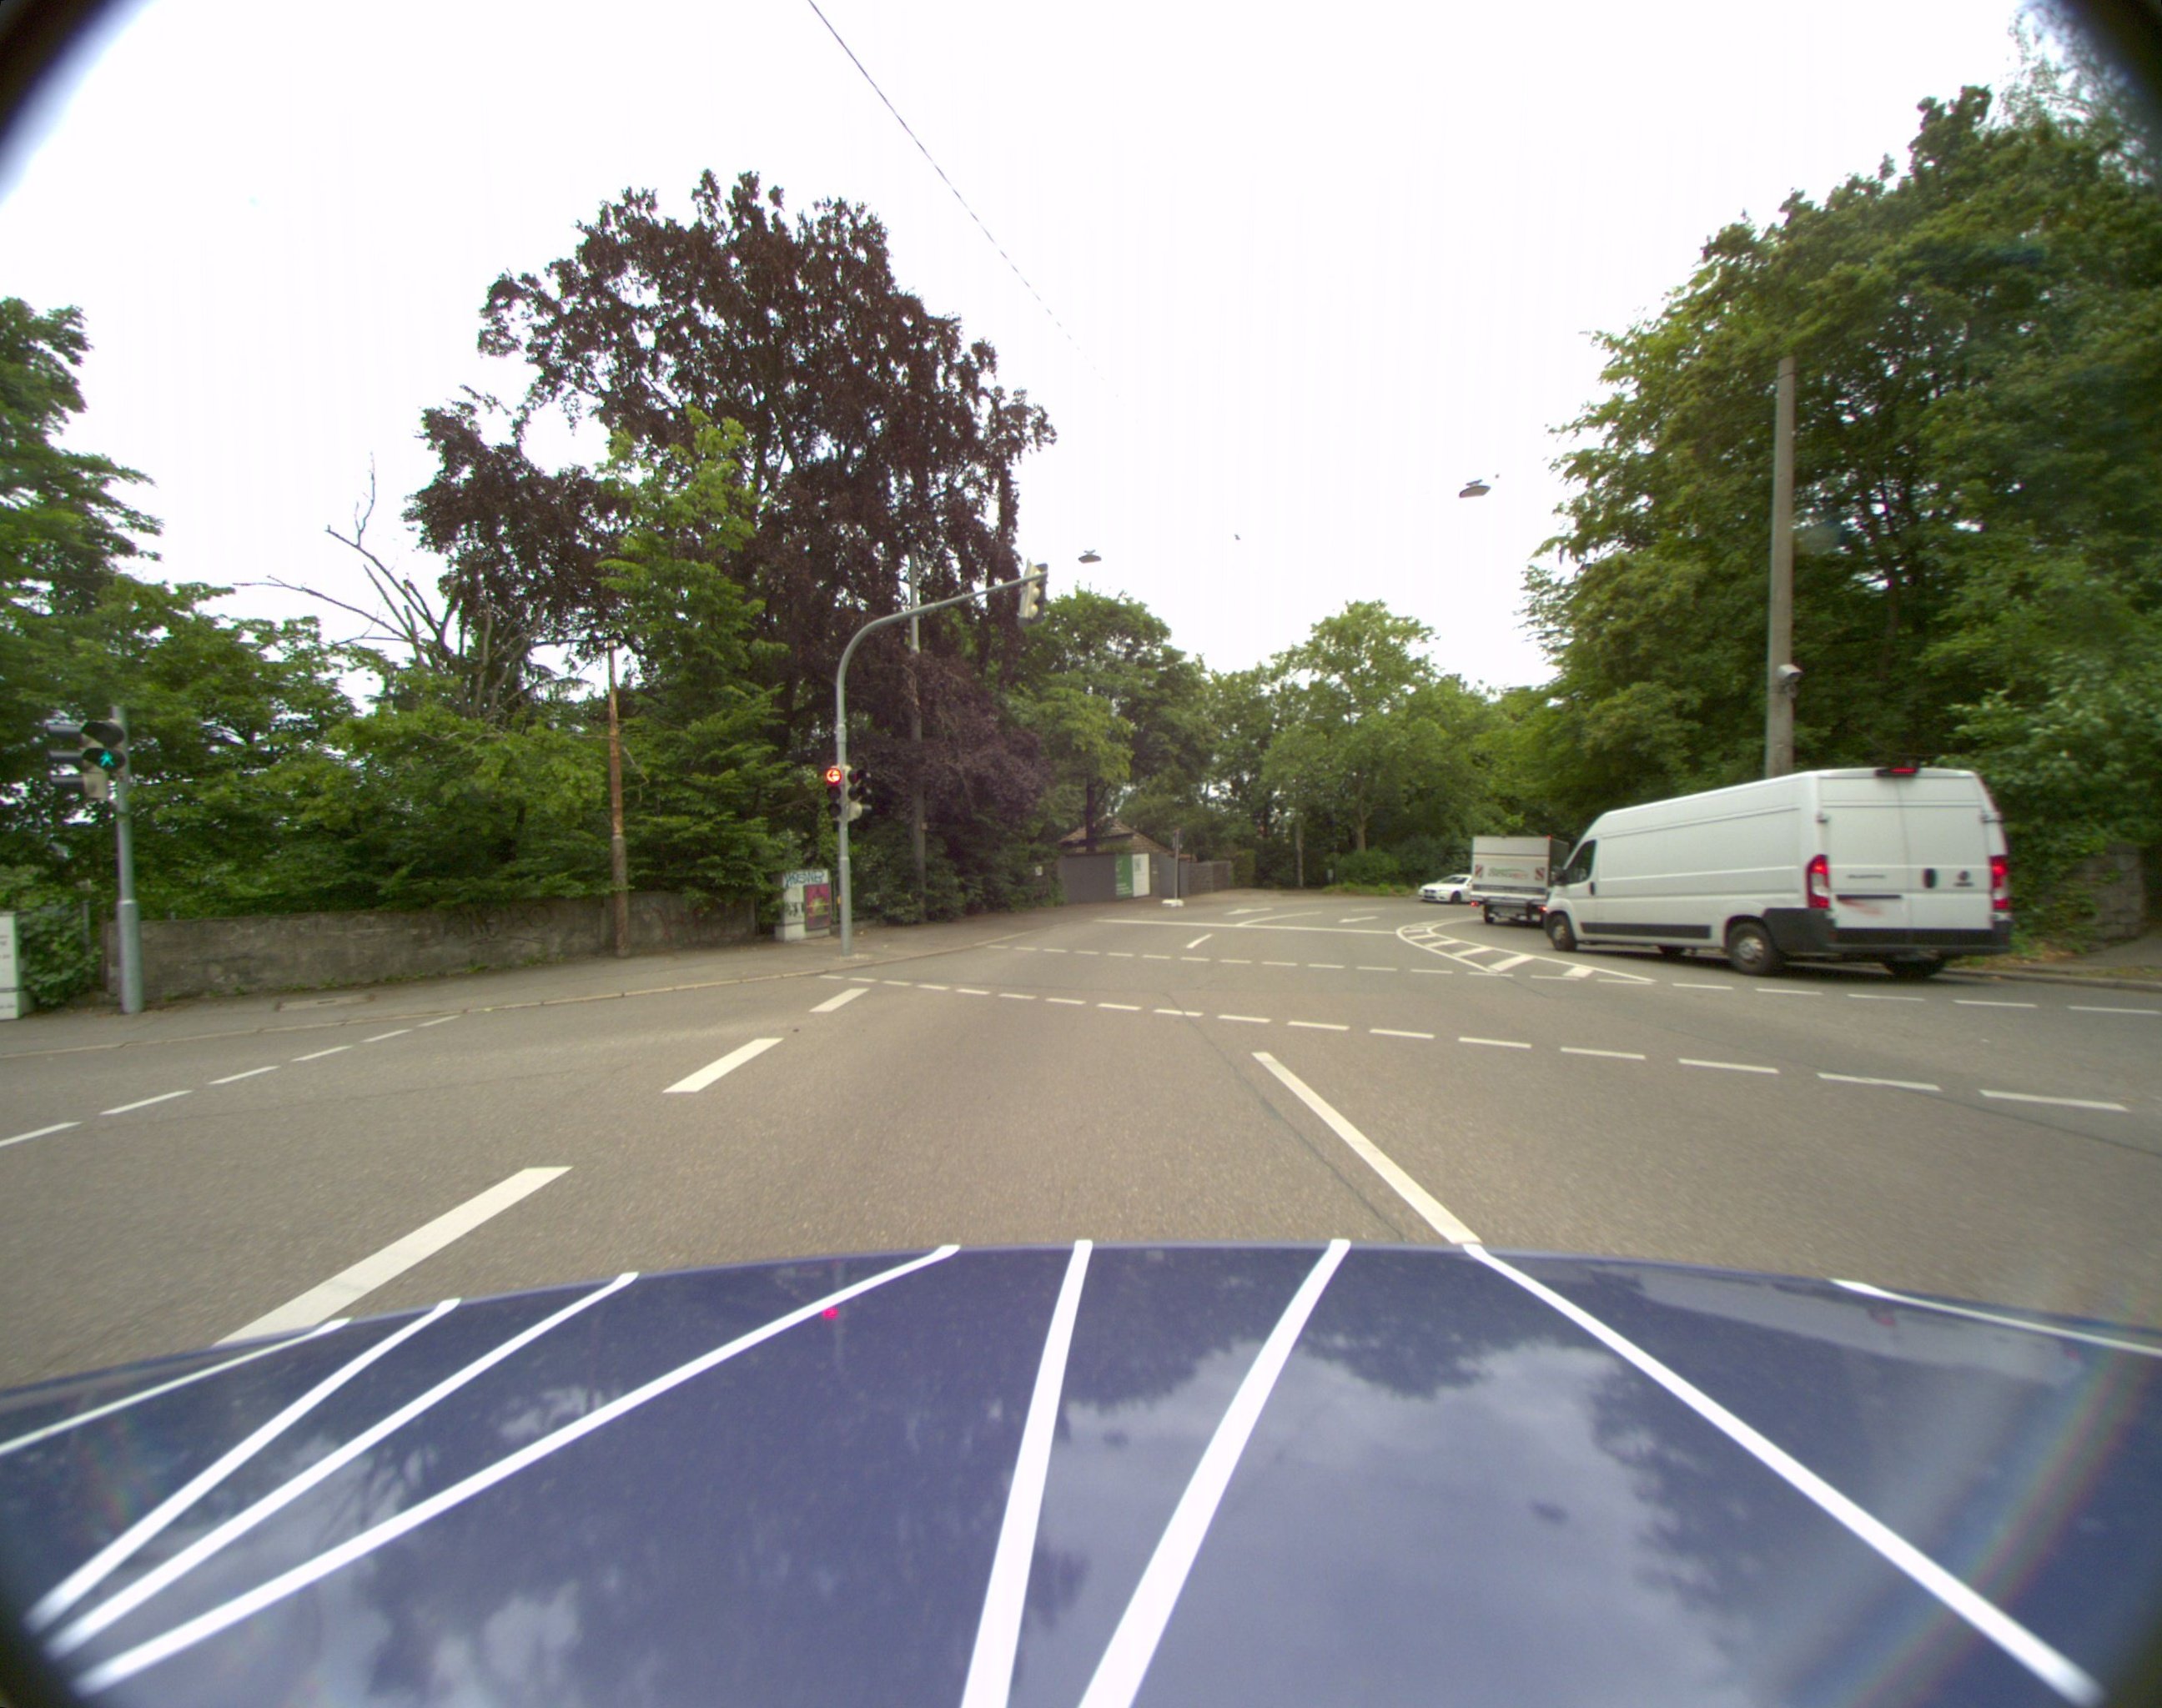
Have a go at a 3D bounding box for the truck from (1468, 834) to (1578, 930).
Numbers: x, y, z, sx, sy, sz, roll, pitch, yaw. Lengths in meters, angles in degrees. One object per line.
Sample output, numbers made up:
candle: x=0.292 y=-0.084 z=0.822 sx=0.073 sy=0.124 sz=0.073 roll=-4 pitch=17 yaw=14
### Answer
truck: x=16.178 y=1.019 z=27.587 sx=2.402 sy=3.070 sz=6.360 roll=2 pitch=-1 yaw=39

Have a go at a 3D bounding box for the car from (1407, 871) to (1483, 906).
car: x=18.779 y=1.748 z=39.106 sx=4.536 sy=1.543 sz=1.912 roll=0 pitch=2 yaw=-42

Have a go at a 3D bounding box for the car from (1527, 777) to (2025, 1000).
car: x=9.222 y=0.496 z=11.159 sx=1.998 sy=2.398 sz=5.900 roll=0 pitch=-2 yaw=2
